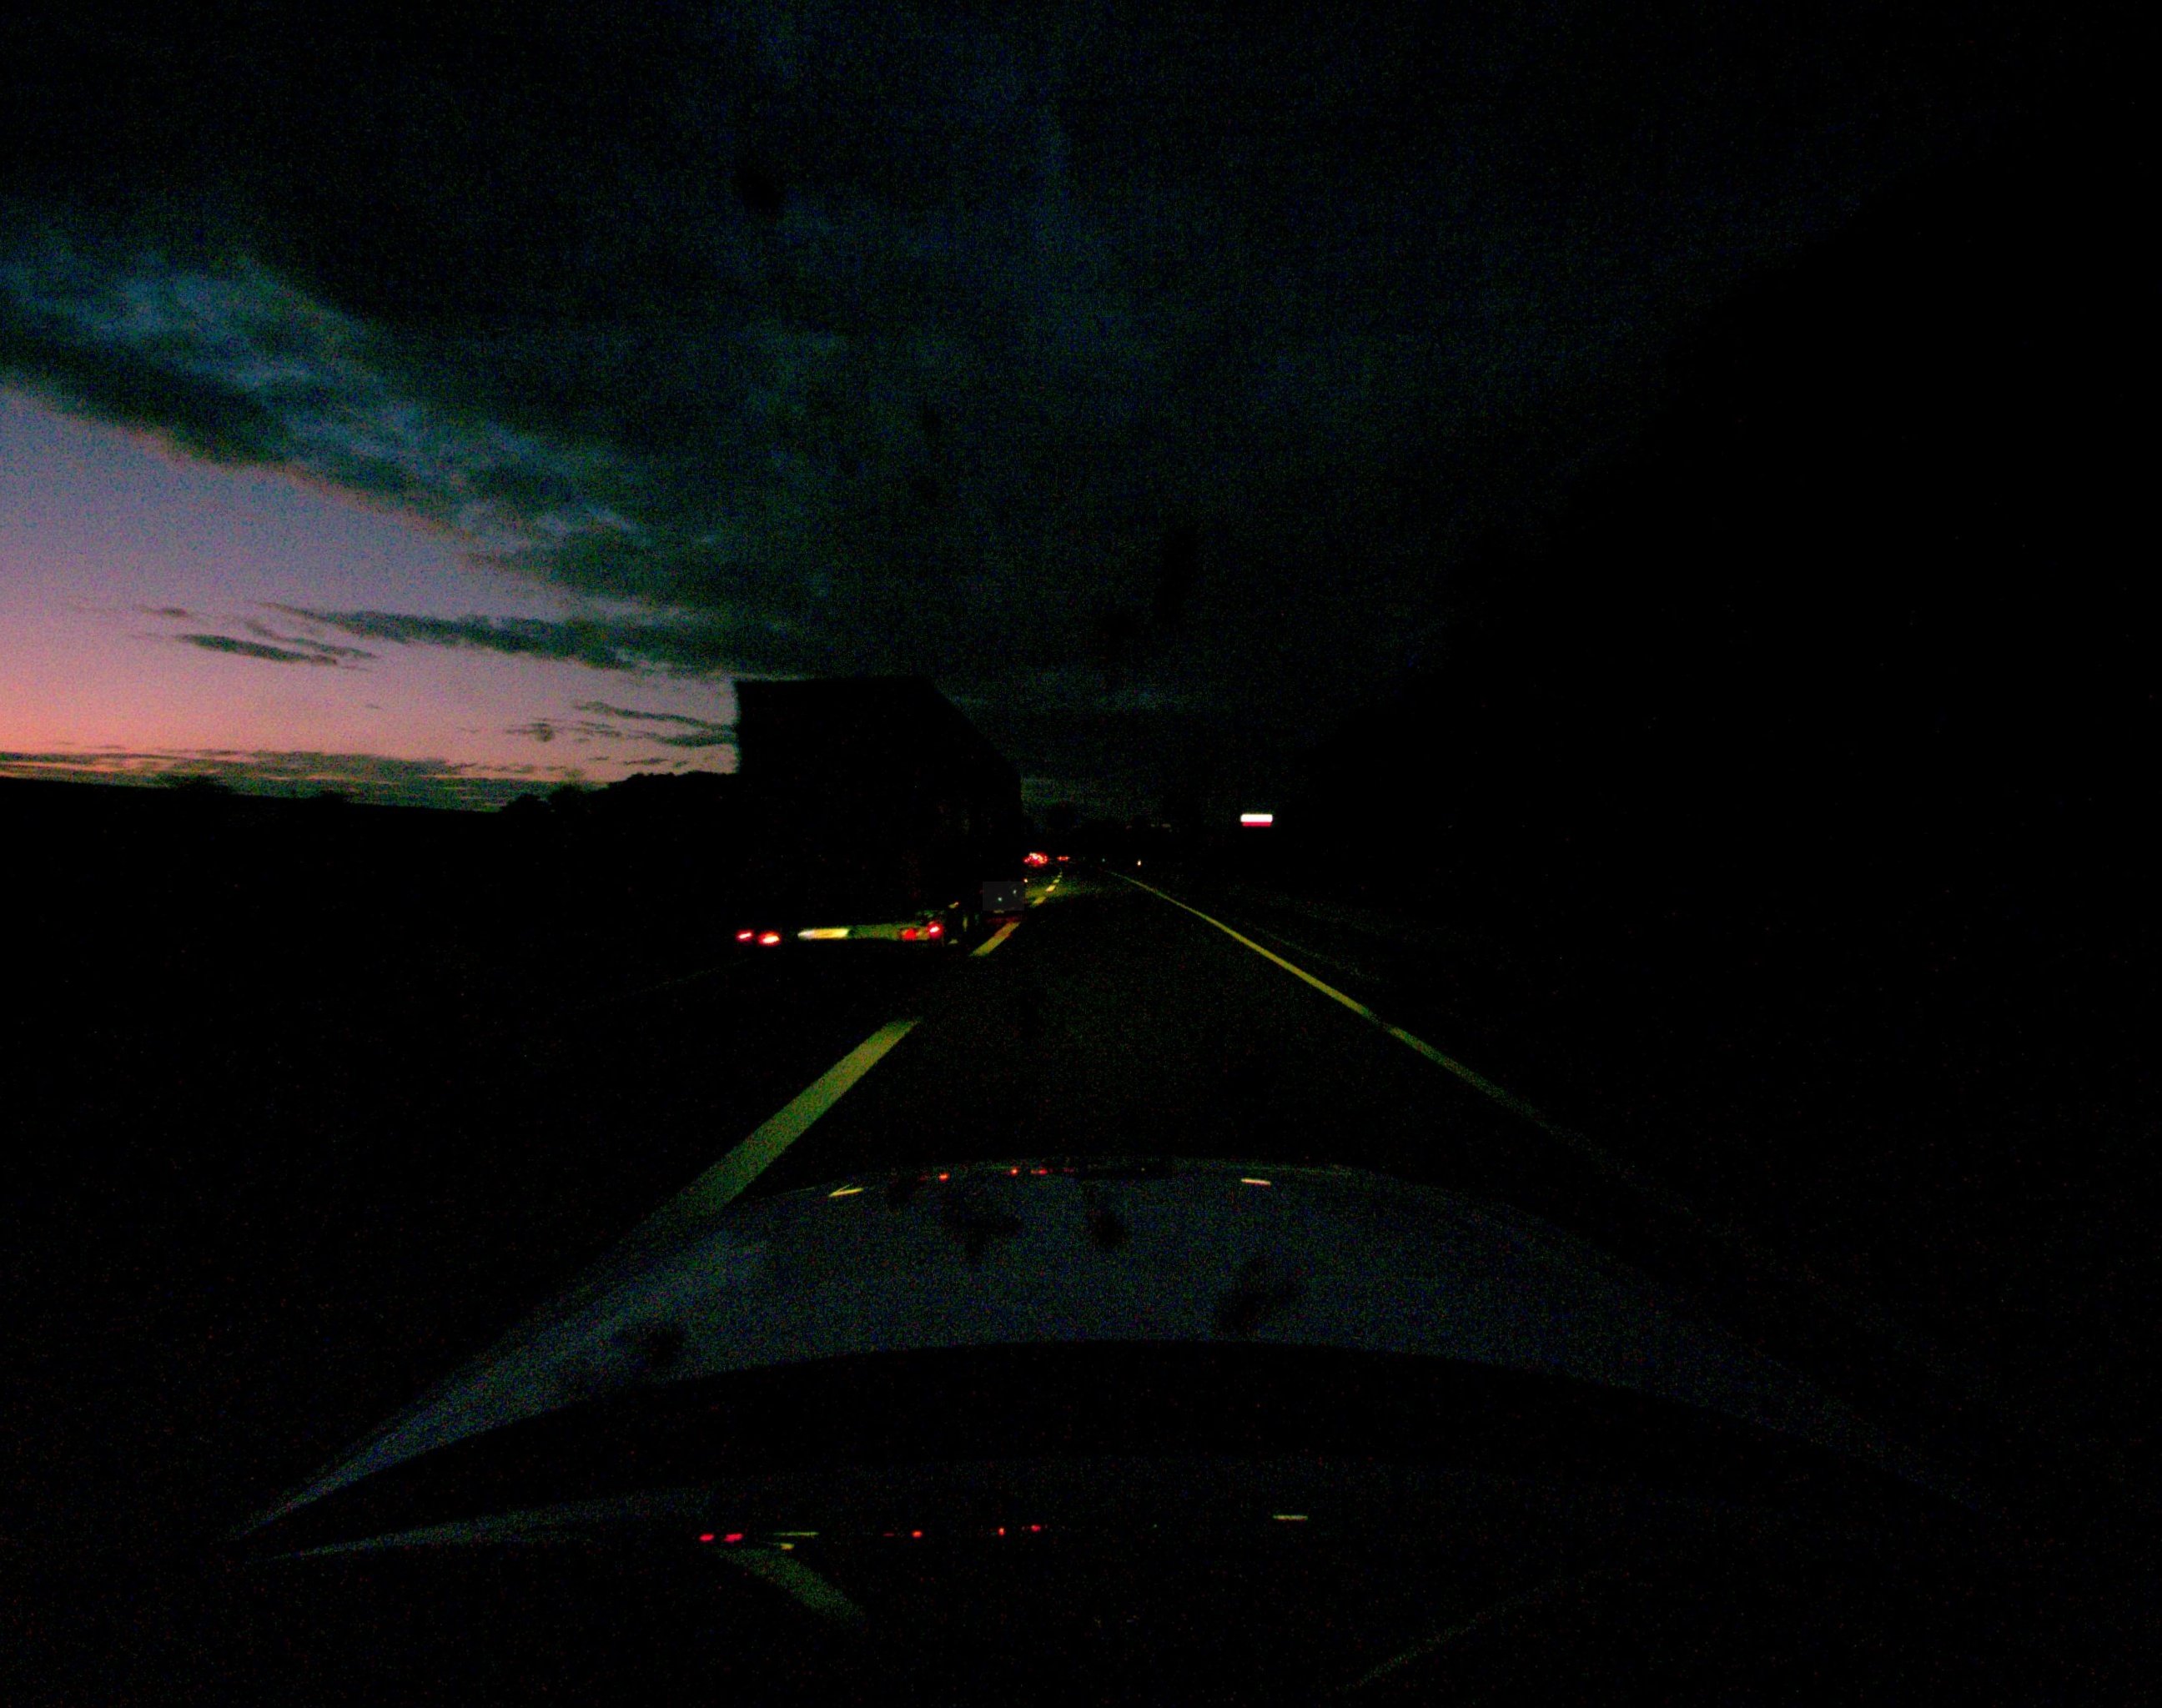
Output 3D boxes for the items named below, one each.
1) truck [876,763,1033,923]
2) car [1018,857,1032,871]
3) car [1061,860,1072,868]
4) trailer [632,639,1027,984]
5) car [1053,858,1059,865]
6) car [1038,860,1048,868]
[{"bbox_3d":[-3.463,-0.208,24.244,3.538,4.091,6.151,-1,-1,1],"label":"truck"},{"bbox_3d":[-8.830,1.623,128.361,1.988,2.080,3.995,0,-3,-2],"label":"car"},{"bbox_3d":[-2.813,1.970,159.114,1.988,1.354,3.995,0,-3,-2],"label":"car"},{"bbox_3d":[-3.556,-0.352,17.397,3.538,4.117,15.062,-1,-1,1],"label":"trailer"},{"bbox_3d":[-8.027,2.416,258.938,1.988,2.014,3.995,0,-3,-2],"label":"car"},{"bbox_3d":[-7.395,1.878,157.575,1.880,1.354,3.995,0,-3,-2],"label":"car"}]
